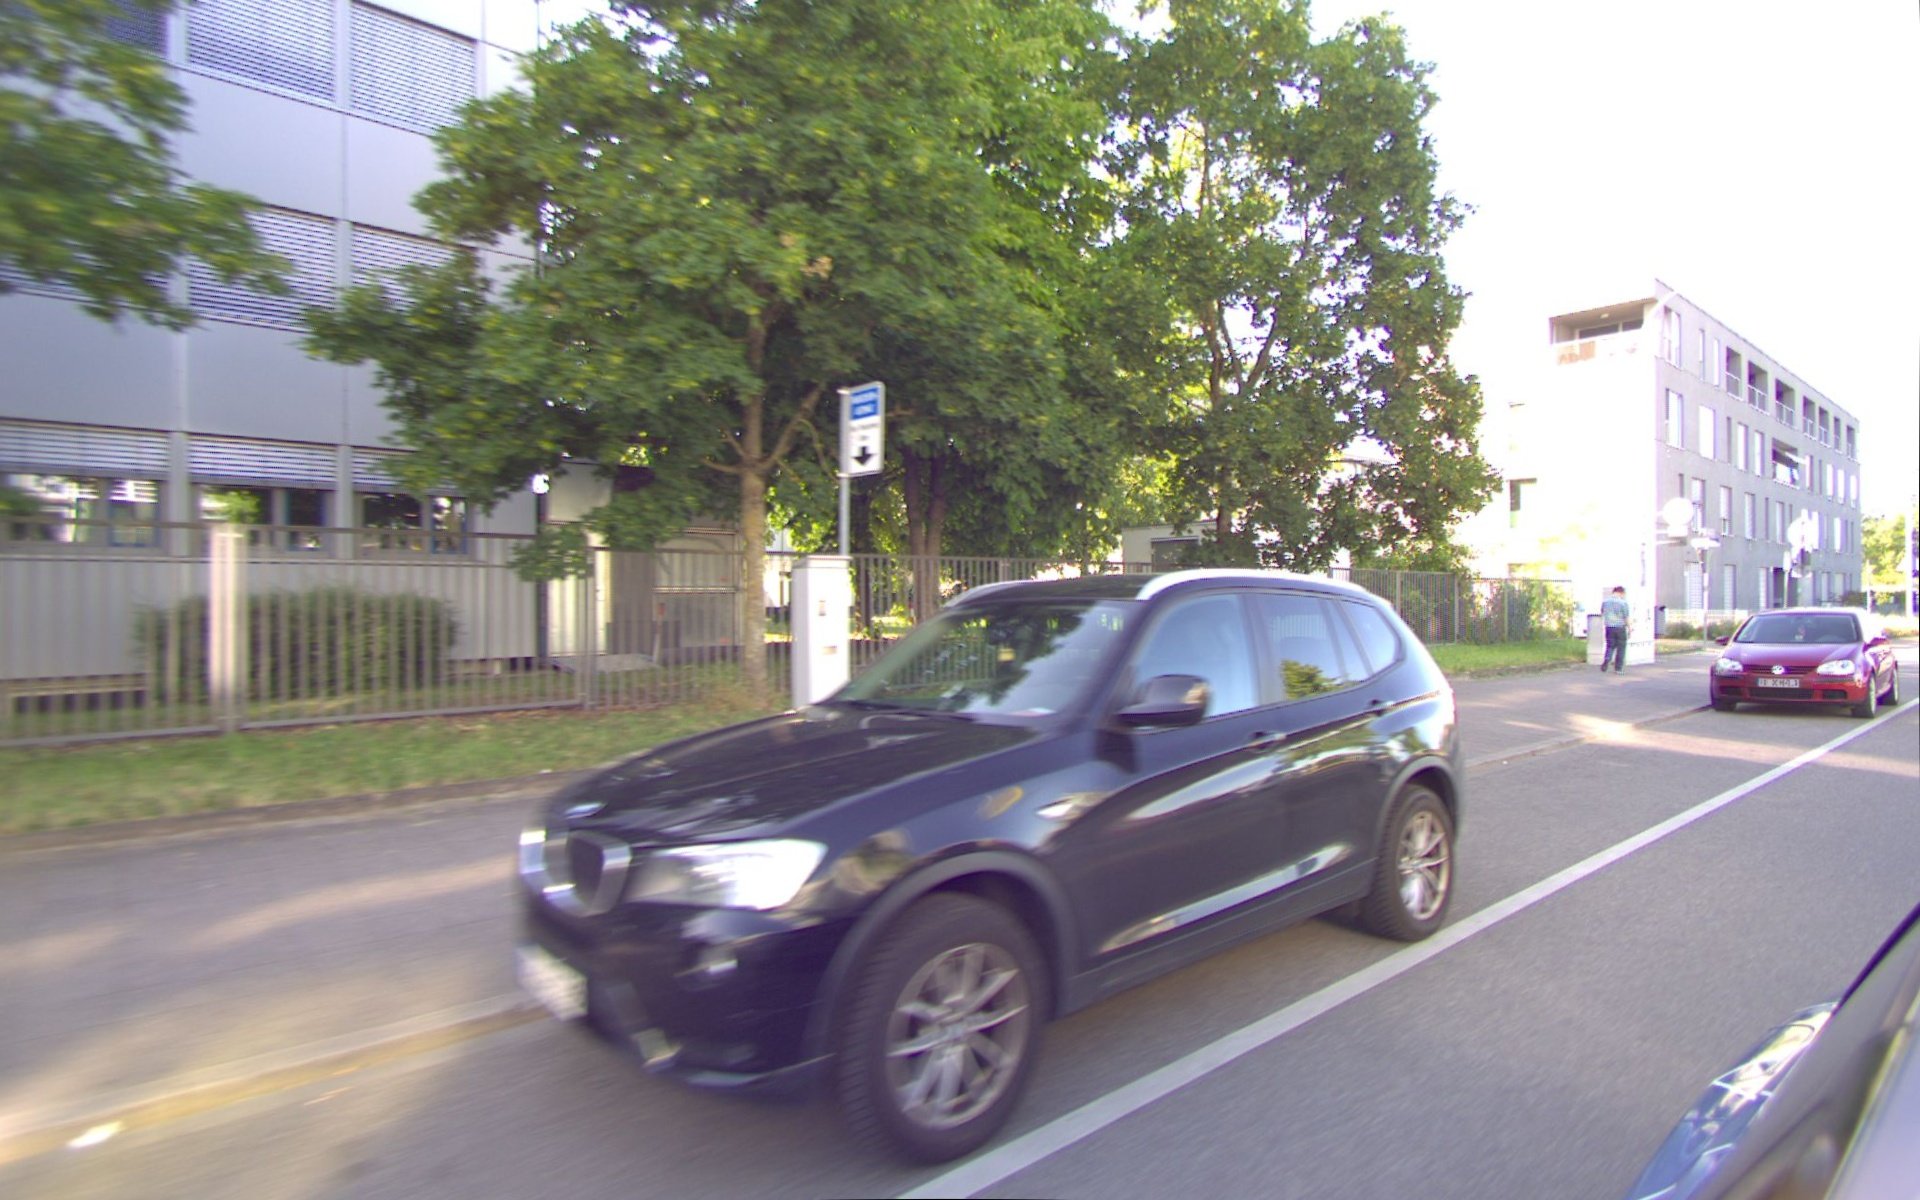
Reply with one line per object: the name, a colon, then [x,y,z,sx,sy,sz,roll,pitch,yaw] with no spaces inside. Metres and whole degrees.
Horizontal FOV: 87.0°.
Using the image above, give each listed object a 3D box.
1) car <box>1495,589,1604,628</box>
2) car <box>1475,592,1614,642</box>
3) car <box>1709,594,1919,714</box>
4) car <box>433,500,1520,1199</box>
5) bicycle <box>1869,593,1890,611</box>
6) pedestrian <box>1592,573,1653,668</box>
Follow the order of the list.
car: [23.057,0.308,39.660,1.682,1.476,3.337,0,0,-35]
car: [18.684,0.516,32.441,1.571,1.504,3.554,0,0,-39]
car: [12.622,0.681,14.814,4.571,1.473,1.722,-1,-1,-41]
car: [0.460,0.665,4.292,4.510,1.688,1.815,1,-2,-40]
bicycle: [54.763,0.122,60.279,1.808,1.075,0.553,-1,-1,-37]
pedestrian: [12.881,0.380,19.667,0.869,1.780,0.719,0,2,-40]
